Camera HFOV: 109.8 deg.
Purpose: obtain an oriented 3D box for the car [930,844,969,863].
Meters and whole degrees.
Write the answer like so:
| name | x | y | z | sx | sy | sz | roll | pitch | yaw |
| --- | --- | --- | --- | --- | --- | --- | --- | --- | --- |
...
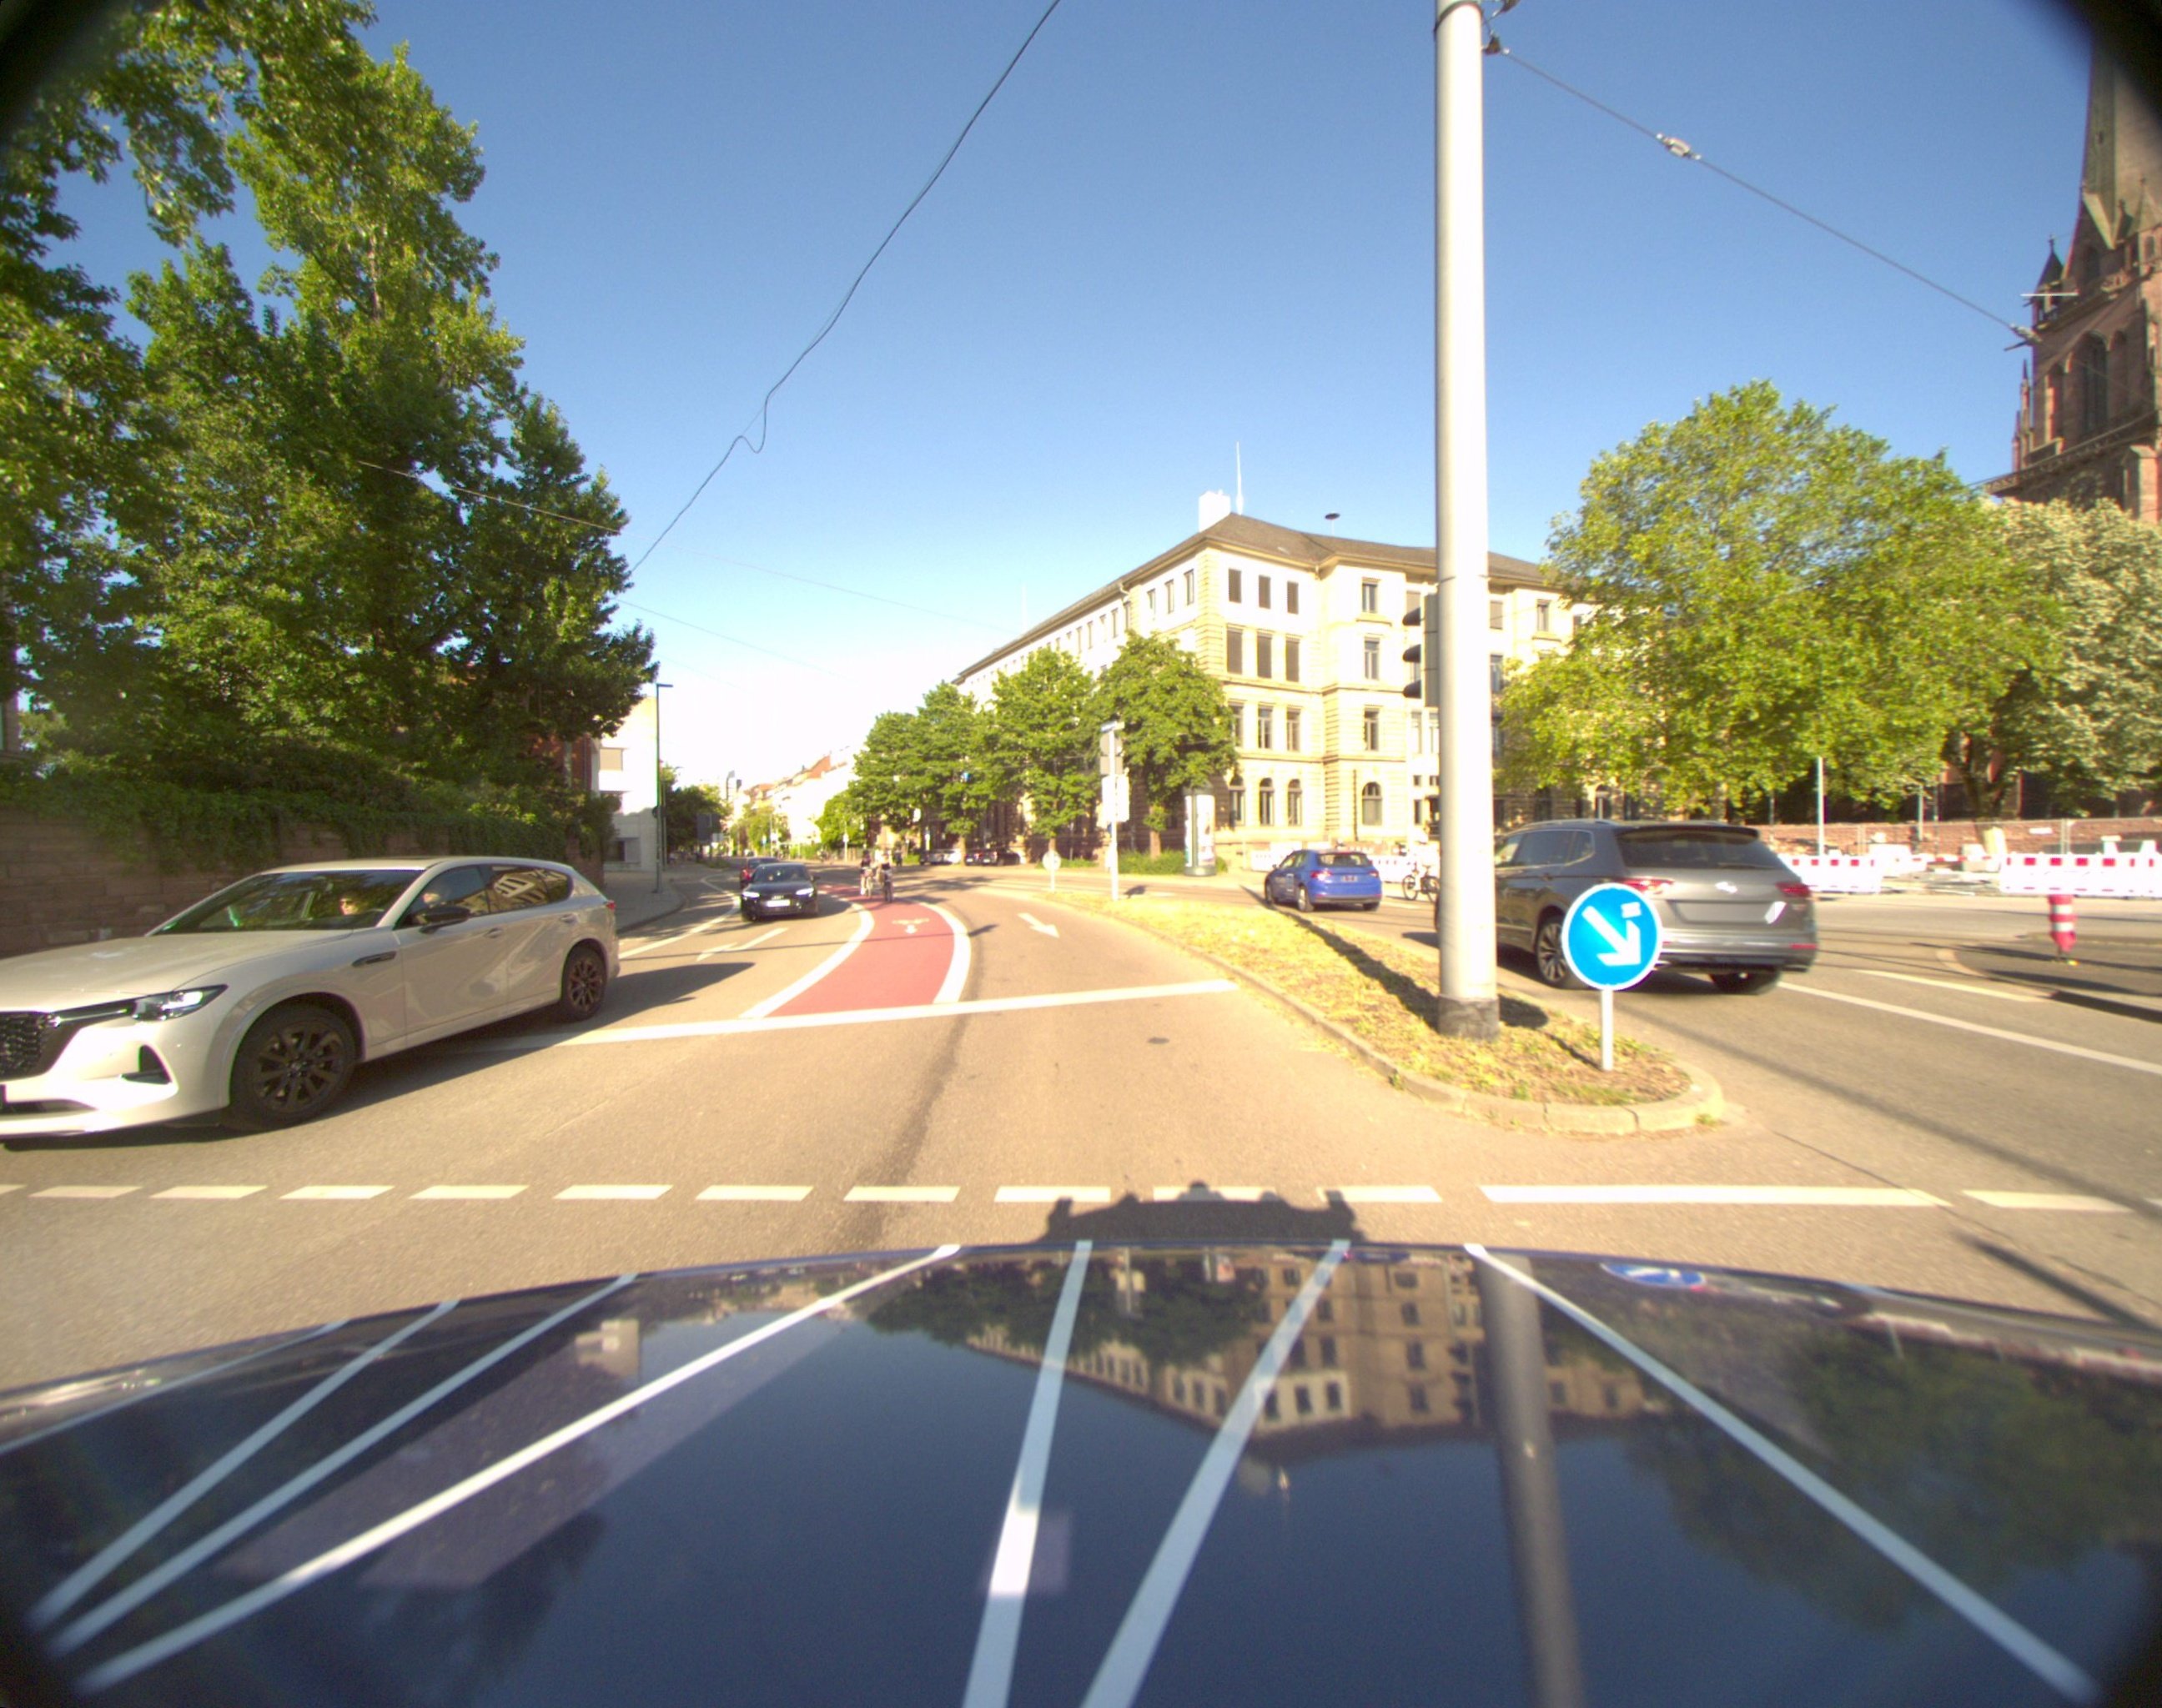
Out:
| name | x | y | z | sx | sy | sz | roll | pitch | yaw |
| --- | --- | --- | --- | --- | --- | --- | --- | --- | --- |
| car | -12.201 | -0.067 | 70.699 | 1.646 | 1.552 | 3.655 | -2 | 2 | 28 |

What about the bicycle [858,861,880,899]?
| name | x | y | z | sx | sy | sz | roll | pitch | yaw |
| --- | --- | --- | --- | --- | --- | --- | --- | --- | --- |
| bicycle | -7.470 | 0.882 | 26.795 | 0.677 | 1.243 | 2.453 | -1 | 1 | -15 |

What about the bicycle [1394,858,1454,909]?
| name | x | y | z | sx | sy | sz | roll | pitch | yaw |
| --- | --- | --- | --- | --- | --- | --- | --- | --- | --- |
| bicycle | 8.666 | 0.716 | 19.293 | 0.675 | 1.174 | 2.183 | -1 | 1 | 4 |

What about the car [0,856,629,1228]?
| name | x | y | z | sx | sy | sz | roll | pitch | yaw |
| --- | --- | --- | --- | --- | --- | --- | --- | --- | --- |
| car | -5.853 | 0.967 | 5.970 | 1.946 | 1.683 | 4.529 | -3 | 2 | -2 |

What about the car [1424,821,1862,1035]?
| name | x | y | z | sx | sy | sz | roll | pitch | yaw |
| --- | --- | --- | --- | --- | --- | --- | --- | --- | --- |
| car | 5.505 | 0.552 | 8.363 | 1.765 | 1.696 | 4.531 | 1 | 1 | 5 |

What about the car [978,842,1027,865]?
| name | x | y | z | sx | sy | sz | roll | pitch | yaw |
| --- | --- | --- | --- | --- | --- | --- | --- | --- | --- |
| car | -6.335 | -0.059 | 61.541 | 1.841 | 1.622 | 4.187 | -2 | 2 | 28 |

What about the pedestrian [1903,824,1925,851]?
| name | x | y | z | sx | sy | sz | roll | pitch | yaw |
| --- | --- | --- | --- | --- | --- | --- | --- | --- | --- |
| pedestrian | 51.156 | -1.032 | 46.651 | 0.638 | 1.638 | 0.675 | -2 | 2 | -7 |

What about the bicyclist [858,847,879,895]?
| name | x | y | z | sx | sy | sz | roll | pitch | yaw |
| --- | --- | --- | --- | --- | --- | --- | --- | --- | --- |
| bicyclist | -7.433 | 0.571 | 26.626 | 0.676 | 1.638 | 1.027 | -1 | 1 | -15 |

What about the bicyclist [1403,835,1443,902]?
| name | x | y | z | sx | sy | sz | roll | pitch | yaw |
| --- | --- | --- | --- | --- | --- | --- | --- | --- | --- |
| bicyclist | 8.657 | 0.351 | 19.255 | 0.710 | 1.648 | 0.743 | -1 | 1 | 4 |

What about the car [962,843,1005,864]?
| name | x | y | z | sx | sy | sz | roll | pitch | yaw |
| --- | --- | --- | --- | --- | --- | --- | --- | --- | --- |
| car | -8.131 | -0.068 | 63.723 | 1.646 | 1.552 | 3.655 | -2 | 2 | 28 |

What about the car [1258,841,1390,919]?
| name | x | y | z | sx | sy | sz | roll | pitch | yaw |
| --- | --- | --- | --- | --- | --- | --- | --- | --- | --- |
| car | 5.691 | 0.523 | 18.294 | 1.741 | 1.565 | 3.922 | 1 | 2 | -2 |

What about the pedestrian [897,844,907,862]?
| name | x | y | z | sx | sy | sz | roll | pitch | yaw |
| --- | --- | --- | --- | --- | --- | --- | --- | --- | --- |
| pedestrian | -16.195 | -0.075 | 68.755 | 0.676 | 1.638 | 0.816 | -2 | 2 | -19 |

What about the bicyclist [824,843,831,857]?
| name | x | y | z | sx | sy | sz | roll | pitch | yaw |
| --- | --- | --- | --- | --- | --- | --- | --- | --- | --- |
| bicyclist | -30.988 | -0.470 | 92.896 | 0.676 | 1.638 | 1.027 | -1 | 2 | -28 |

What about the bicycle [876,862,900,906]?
| name | x | y | z | sx | sy | sz | roll | pitch | yaw |
| --- | --- | --- | --- | --- | --- | --- | --- | --- | --- |
| bicycle | -6.110 | 0.913 | 23.947 | 0.677 | 1.243 | 2.453 | -1 | 1 | -15 |

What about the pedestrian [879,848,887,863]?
| name | x | y | z | sx | sy | sz | roll | pitch | yaw |
| --- | --- | --- | --- | --- | --- | --- | --- | --- | --- |
| pedestrian | -22.047 | 0.109 | 84.563 | 0.676 | 1.638 | 0.815 | -2 | 2 | -28 |

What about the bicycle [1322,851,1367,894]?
| name | x | y | z | sx | sy | sz | roll | pitch | yaw |
| --- | --- | --- | --- | --- | --- | --- | --- | --- | --- |
| bicycle | 8.328 | 0.540 | 24.117 | 0.675 | 1.243 | 2.457 | 2 | 1 | 4 |

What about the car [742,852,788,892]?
| name | x | y | z | sx | sy | sz | roll | pitch | yaw |
| --- | --- | --- | --- | --- | --- | --- | --- | --- | --- |
| car | -14.093 | 0.753 | 33.803 | 1.652 | 1.552 | 3.642 | -4 | 2 | -25 |

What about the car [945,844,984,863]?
| name | x | y | z | sx | sy | sz | roll | pitch | yaw |
| --- | --- | --- | --- | --- | --- | --- | --- | --- | --- |
| car | -10.534 | -0.076 | 68.926 | 1.646 | 1.552 | 3.655 | -2 | 2 | 28 |

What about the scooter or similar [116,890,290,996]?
| name | x | y | z | sx | sy | sz | roll | pitch | yaw |
| --- | --- | --- | --- | --- | --- | --- | --- | --- | --- |
| scooter or similar | -11.968 | 1.166 | 10.423 | 0.575 | 1.262 | 1.425 | 0 | 1 | 13 |

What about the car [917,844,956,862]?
| name | x | y | z | sx | sy | sz | roll | pitch | yaw |
| --- | --- | --- | --- | --- | --- | --- | --- | --- | --- |
| car | -13.976 | -0.094 | 73.684 | 1.646 | 1.552 | 3.655 | -2 | 2 | 28 |

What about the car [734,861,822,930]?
| name | x | y | z | sx | sy | sz | roll | pitch | yaw |
| --- | --- | --- | --- | --- | --- | --- | --- | --- | --- |
| car | -7.854 | 0.994 | 20.028 | 1.790 | 1.425 | 3.993 | -3 | 2 | -17 |

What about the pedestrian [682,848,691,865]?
| name | x | y | z | sx | sy | sz | roll | pitch | yaw |
| --- | --- | --- | --- | --- | --- | --- | --- | --- | --- |
| pedestrian | -37.380 | 0.231 | 71.999 | 0.676 | 1.638 | 0.815 | -2 | 2 | -28 |

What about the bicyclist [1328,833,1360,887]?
| name | x | y | z | sx | sy | sz | roll | pitch | yaw |
| --- | --- | --- | --- | --- | --- | --- | --- | --- | --- |
| bicyclist | 8.345 | 0.181 | 24.126 | 0.710 | 1.648 | 0.901 | 2 | 2 | 3 |

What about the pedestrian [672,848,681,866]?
| name | x | y | z | sx | sy | sz | roll | pitch | yaw |
| --- | --- | --- | --- | --- | --- | --- | --- | --- | --- |
| pedestrian | -38.084 | 0.275 | 71.567 | 0.676 | 1.638 | 0.815 | -2 | 2 | -28 |

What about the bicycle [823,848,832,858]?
| name | x | y | z | sx | sy | sz | roll | pitch | yaw |
| --- | --- | --- | --- | --- | --- | --- | --- | --- | --- |
| bicycle | -31.035 | -0.166 | 92.969 | 0.677 | 1.243 | 2.451 | -1 | 1 | -28 |

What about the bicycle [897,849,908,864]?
| name | x | y | z | sx | sy | sz | roll | pitch | yaw |
| --- | --- | --- | --- | --- | --- | --- | --- | --- | --- |
| bicycle | -16.181 | 0.206 | 68.750 | 0.677 | 1.243 | 2.452 | -2 | 1 | -19 |

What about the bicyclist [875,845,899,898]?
| name | x | y | z | sx | sy | sz | roll | pitch | yaw |
| --- | --- | --- | --- | --- | --- | --- | --- | --- | --- |
| bicyclist | -6.115 | 0.537 | 23.928 | 0.676 | 1.638 | 1.028 | -1 | 1 | -15 |

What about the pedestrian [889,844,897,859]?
| name | x | y | z | sx | sy | sz | roll | pitch | yaw |
| --- | --- | --- | --- | --- | --- | --- | --- | --- | --- |
| pedestrian | -21.124 | -0.282 | 85.477 | 0.676 | 1.638 | 0.815 | -2 | 2 | -28 |
